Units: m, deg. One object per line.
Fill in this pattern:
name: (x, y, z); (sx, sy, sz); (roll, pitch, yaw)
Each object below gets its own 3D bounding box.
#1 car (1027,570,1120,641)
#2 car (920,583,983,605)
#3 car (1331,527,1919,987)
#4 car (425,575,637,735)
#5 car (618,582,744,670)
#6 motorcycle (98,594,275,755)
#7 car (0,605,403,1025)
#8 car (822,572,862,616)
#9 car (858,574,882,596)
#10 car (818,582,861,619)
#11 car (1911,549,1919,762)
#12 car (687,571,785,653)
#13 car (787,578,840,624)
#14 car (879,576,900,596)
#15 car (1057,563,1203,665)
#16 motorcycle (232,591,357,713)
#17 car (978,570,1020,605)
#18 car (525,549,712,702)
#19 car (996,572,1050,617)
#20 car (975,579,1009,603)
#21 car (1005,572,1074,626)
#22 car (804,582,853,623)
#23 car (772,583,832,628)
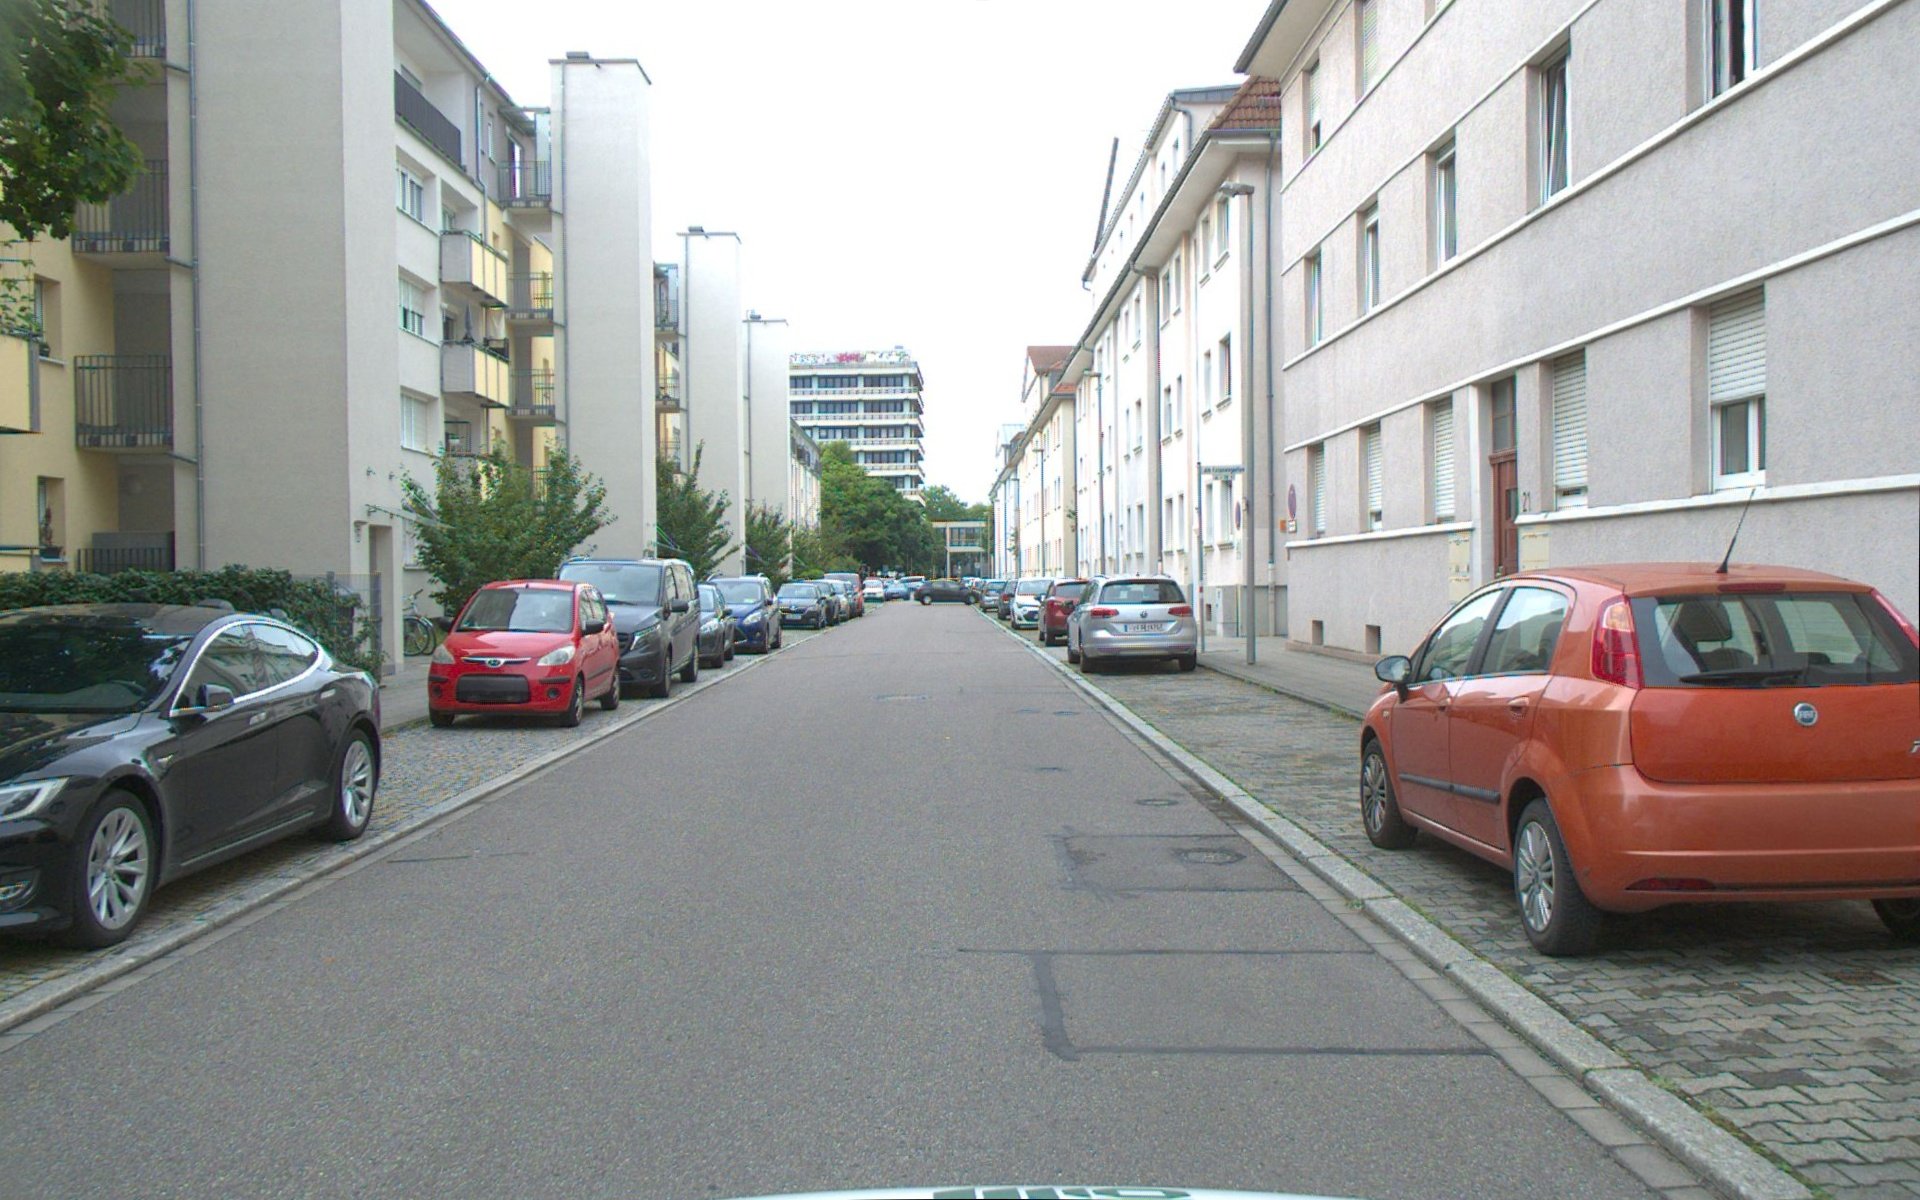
car: (2.503, 0.079, 37.135); (1.636, 1.444, 3.999); (-3, 1, -2)
car: (-0.494, -0.361, 96.695); (3.652, 1.235, 1.544); (0, 1, 0)
car: (3.016, 0.496, 7.651); (1.662, 1.551, 3.825); (-2, 1, -1)
car: (-4.784, 0.539, 18.887); (1.532, 1.596, 3.641); (2, 1, -2)
car: (-5.115, 0.424, 30.798); (1.794, 1.484, 4.258); (0, 1, -3)
motorcycle: (-7.372, 0.663, 15.899); (0.663, 1.379, 2.229); (1, 1, -1)
car: (-4.526, 0.814, 8.490); (1.804, 1.446, 4.629); (1, 1, -1)
car: (-5.418, -0.303, 76.263); (1.637, 1.972, 3.741); (0, 1, -1)
car: (-6.374, -1.091, 117.109); (1.507, 1.475, 3.741); (0, 1, -1)
car: (-5.141, -0.004, 70.891); (1.637, 1.513, 3.741); (0, 1, -1)
car: (3.160, 0.616, 2.282); (1.535, 1.499, 3.696); (-3, 1, 0)
car: (-4.856, 0.209, 36.354); (1.734, 1.671, 4.353); (0, 1, -3)
car: (-5.250, 0.013, 59.681); (1.637, 1.591, 3.664); (0, 1, -1)
car: (-5.437, -1.064, 127.881); (1.508, 1.475, 3.739); (-2, 1, -4)
car: (2.633, 0.155, 26.594); (1.720, 1.493, 4.599); (0, 1, -2)
motorcycle: (-7.409, 0.548, 18.505); (0.623, 1.252, 1.833); (3, 1, -1)
car: (1.800, -0.600, 77.513); (1.782, 1.604, 3.883); (0, 1, -1)
car: (-4.792, 0.279, 23.928); (1.841, 1.937, 5.028); (1, 1, -3)
car: (2.290, -0.229, 60.886); (1.782, 1.604, 3.752); (0, 1, -1)
car: (2.013, -0.596, 105.216); (1.953, 1.422, 3.999); (1, 1, -1)
car: (2.302, -0.061, 48.779); (1.782, 1.531, 3.752); (0, 1, -1)
car: (-5.220, 0.078, 66.013); (1.637, 1.552, 4.252); (0, 1, -1)
car: (-5.147, 0.167, 54.179); (1.637, 1.375, 3.816); (0, 1, -1)
